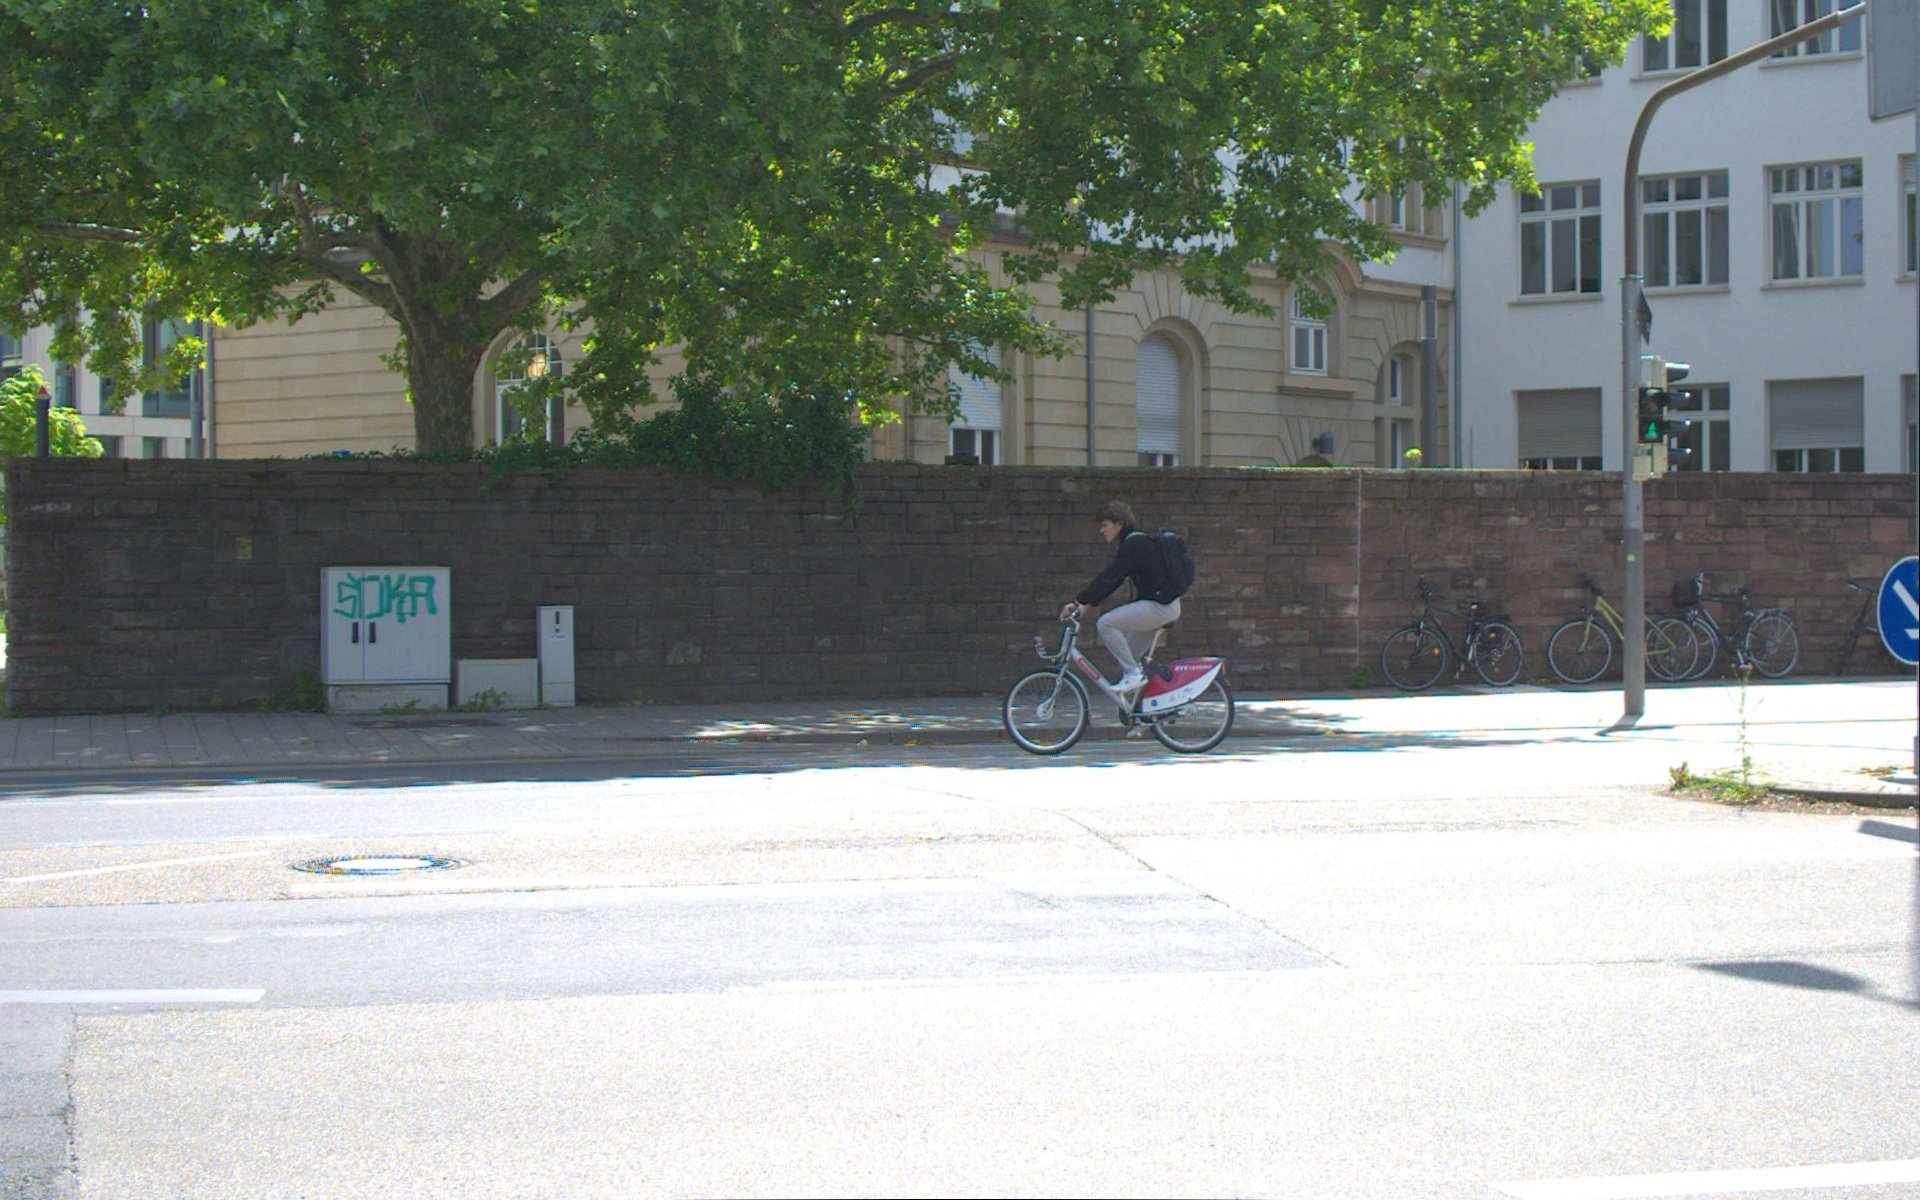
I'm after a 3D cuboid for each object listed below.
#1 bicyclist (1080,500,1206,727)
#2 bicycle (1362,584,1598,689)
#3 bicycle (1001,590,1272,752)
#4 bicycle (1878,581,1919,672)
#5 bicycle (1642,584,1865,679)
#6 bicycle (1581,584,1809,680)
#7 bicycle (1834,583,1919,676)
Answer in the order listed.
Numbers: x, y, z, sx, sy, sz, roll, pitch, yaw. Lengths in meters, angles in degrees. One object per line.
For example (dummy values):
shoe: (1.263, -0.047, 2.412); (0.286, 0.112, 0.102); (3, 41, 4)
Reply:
bicyclist: (1.358, 0.093, 25.661); (0.887, 1.666, 0.684); (0, 0, -1)
bicycle: (5.437, 0.369, 35.898); (2.380, 1.055, 0.754); (-1, 1, -22)
bicycle: (1.304, 0.520, 25.666); (1.981, 1.181, 0.682); (0, 0, -1)
bicycle: (11.466, 0.281, 38.405); (2.380, 0.990, 0.725); (-1, 1, -22)
bicycle: (8.580, 0.330, 37.155); (2.380, 0.990, 0.697); (-1, 1, -22)
bicycle: (7.887, 0.332, 36.868); (2.380, 0.990, 0.754); (-1, 1, -22)
bicycle: (10.927, 0.313, 38.165); (2.380, 0.990, 0.754); (-1, 1, -22)
